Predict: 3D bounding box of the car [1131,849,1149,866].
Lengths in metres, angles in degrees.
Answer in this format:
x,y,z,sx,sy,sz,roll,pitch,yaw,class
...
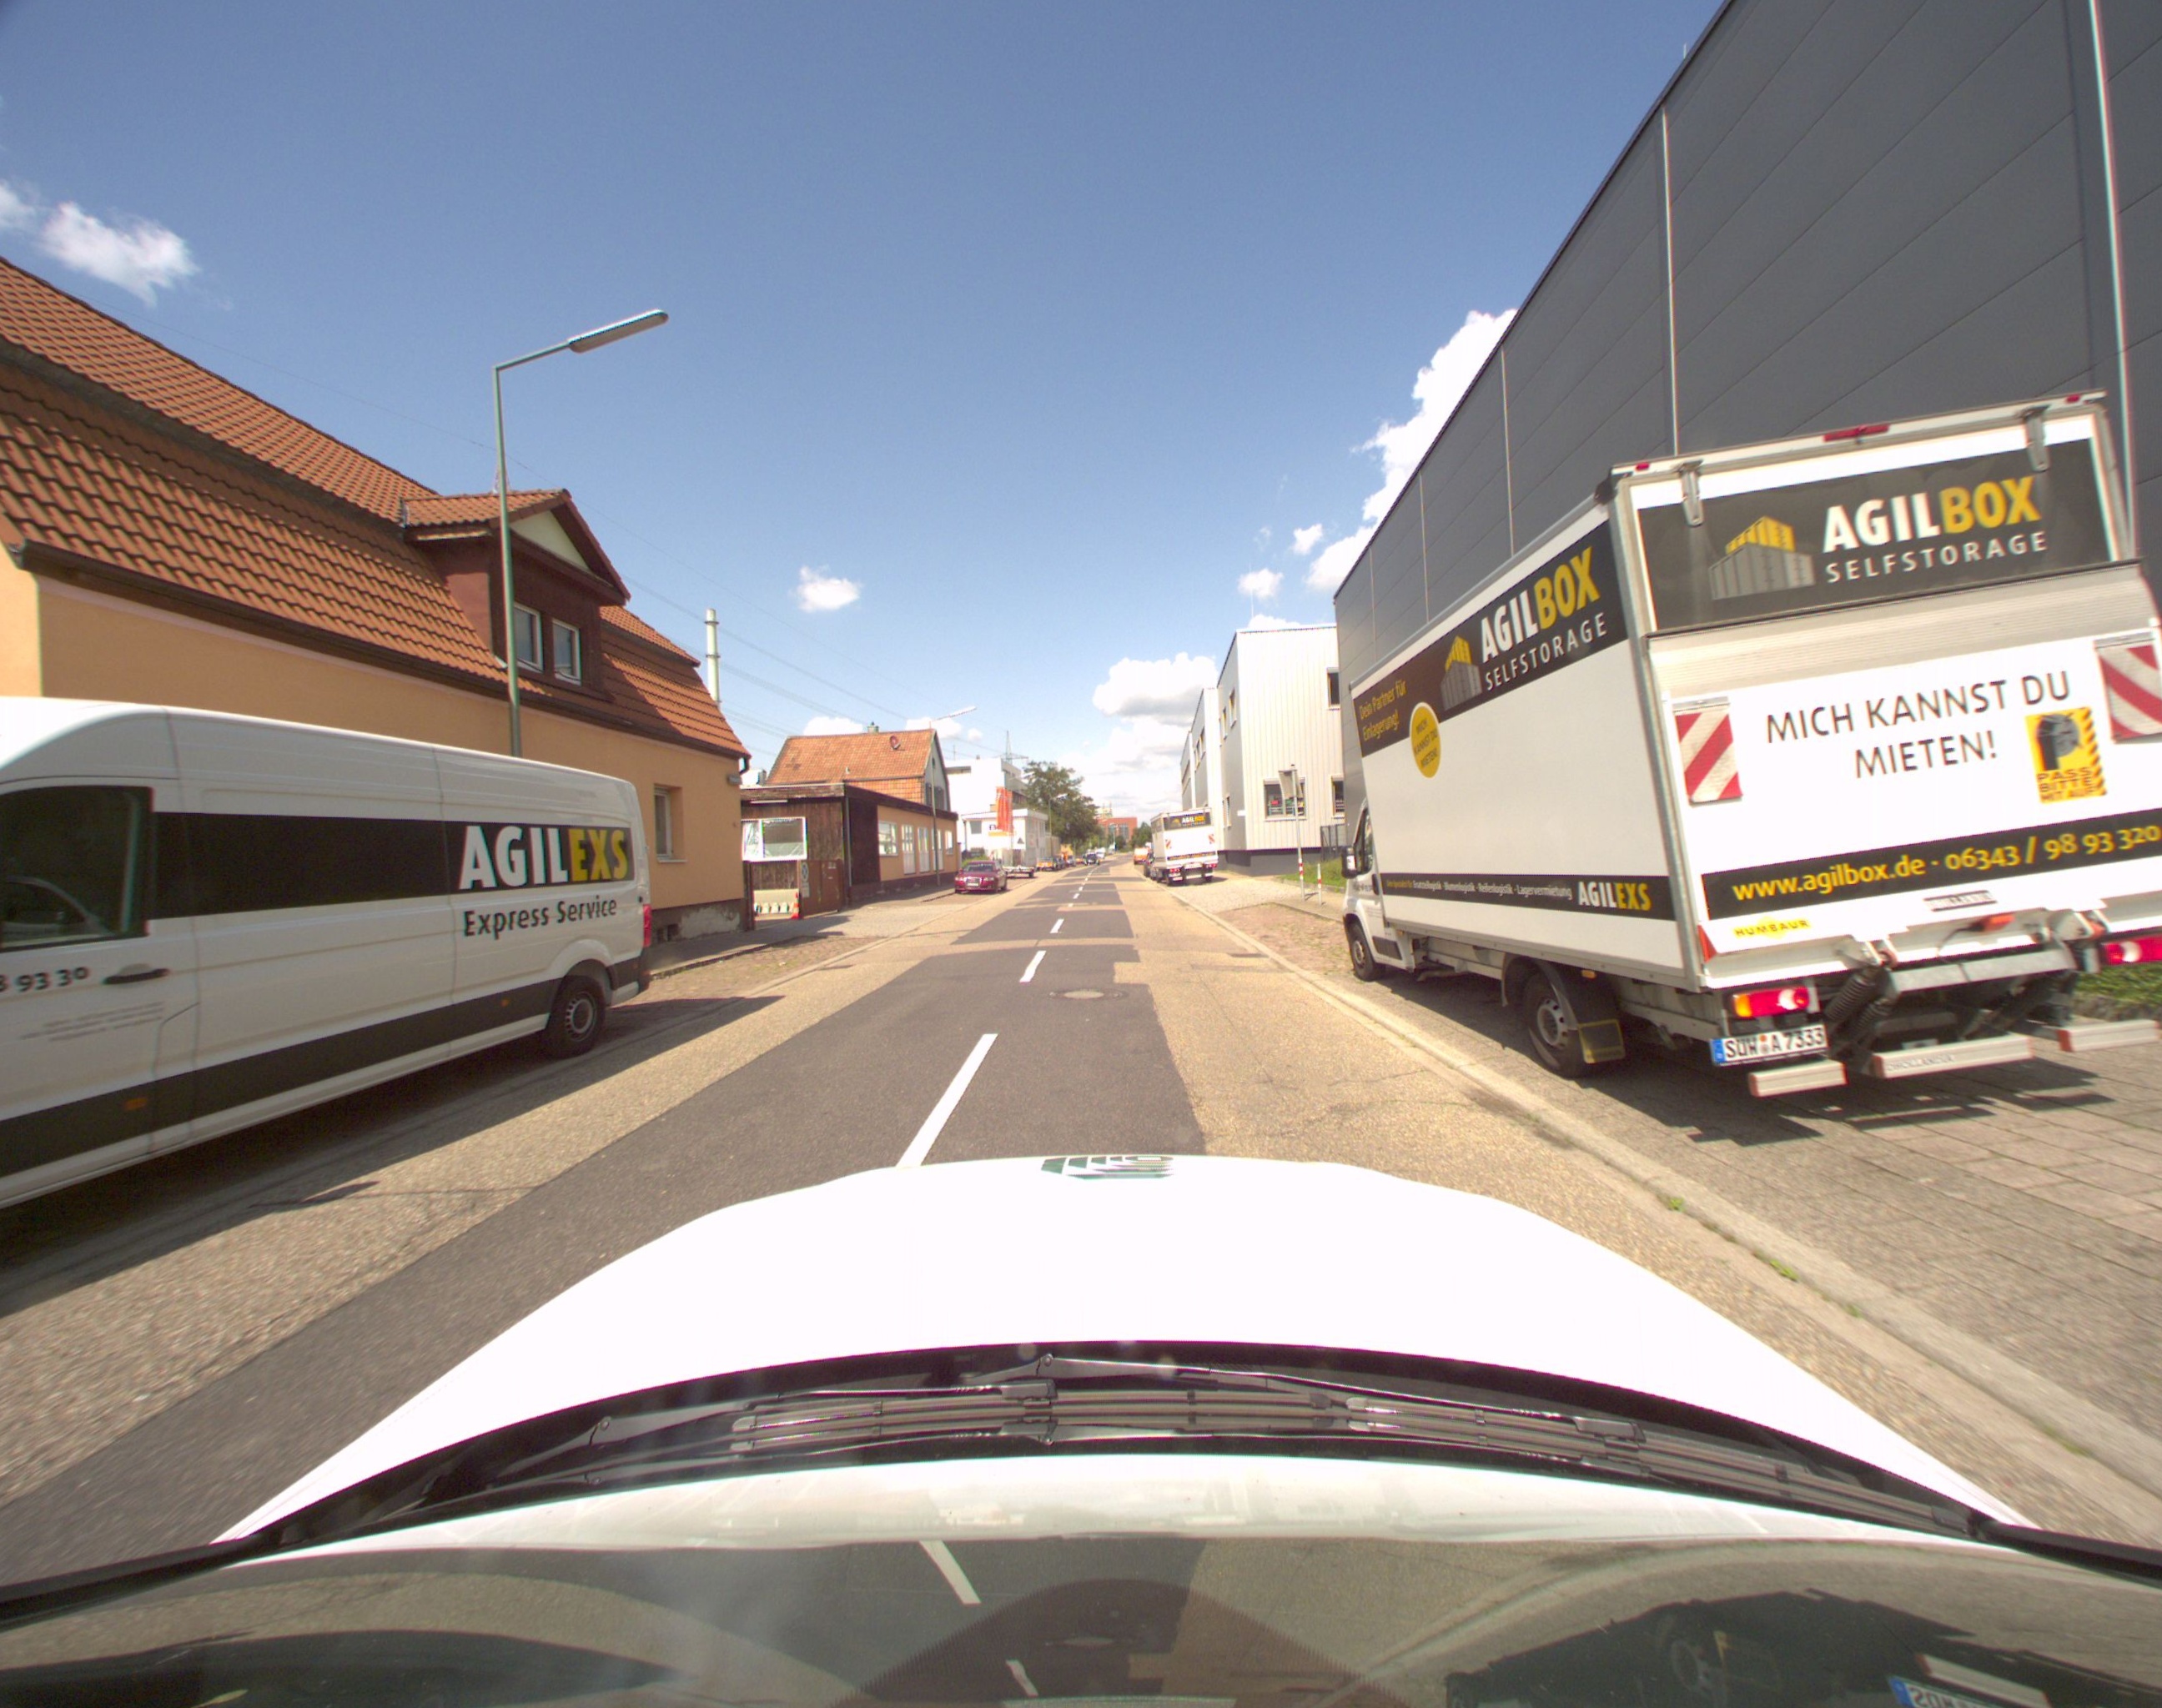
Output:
x,y,z,sx,sy,sz,roll,pitch,yaw,class
6.701,0.375,92.388,1.931,1.742,4.381,-3,-1,4,car

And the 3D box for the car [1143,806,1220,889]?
x,y,z,sx,sy,sz,roll,pitch,yaw,class
4.562,-0.245,38.208,2.382,3.362,6.641,-5,0,-1,car

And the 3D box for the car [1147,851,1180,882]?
x,y,z,sx,sy,sz,roll,pitch,yaw,class
4.544,0.654,45.299,1.561,1.574,4.071,-3,0,2,car

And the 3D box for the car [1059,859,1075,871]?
x,y,z,sx,sy,sz,roll,pitch,yaw,class
-1.656,1.277,97.835,1.662,1.447,3.455,0,-1,2,car

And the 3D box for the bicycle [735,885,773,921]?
x,y,z,sx,sy,sz,roll,pitch,yaw,class
-10.362,1.528,25.843,0.628,0.955,1.967,-1,2,-8,bicycle

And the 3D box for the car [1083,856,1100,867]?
x,y,z,sx,sy,sz,roll,pitch,yaw,class
1.247,0.883,97.358,1.911,1.285,3.615,-3,0,1,car

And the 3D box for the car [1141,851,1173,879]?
x,y,z,sx,sy,sz,roll,pitch,yaw,class
4.656,0.654,50.548,1.761,1.612,3.876,-2,-1,3,car

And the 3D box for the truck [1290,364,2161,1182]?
x,y,z,sx,sy,sz,roll,pitch,yaw,class
3.950,-0.349,6.941,2.449,3.293,6.821,-7,-1,2,truck

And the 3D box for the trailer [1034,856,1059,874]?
x,y,z,sx,sy,sz,roll,pitch,yaw,class
-3.260,1.005,76.881,1.986,1.556,4.255,-2,0,2,trailer

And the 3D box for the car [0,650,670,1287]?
x,y,z,sx,sy,sz,roll,pitch,yaw,class
-5.343,0.484,5.058,2.020,2.561,6.840,-1,-1,1,car

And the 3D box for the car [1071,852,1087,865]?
x,y,z,sx,sy,sz,roll,pitch,yaw,class
-0.254,0.591,115.600,1.913,1.794,4.004,-1,-1,4,car

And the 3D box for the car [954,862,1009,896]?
x,y,z,sx,sy,sz,roll,pitch,yaw,class
-4.443,1.074,36.943,1.755,1.447,4.743,0,0,2,car

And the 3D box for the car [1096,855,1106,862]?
x,y,z,sx,sy,sz,roll,pitch,yaw,class
4.195,0.951,169.386,1.801,1.564,4.006,-1,-1,5,car

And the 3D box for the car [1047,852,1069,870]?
x,y,z,sx,sy,sz,roll,pitch,yaw,class
-2.593,0.798,92.344,1.985,2.014,4.004,-1,-1,4,car

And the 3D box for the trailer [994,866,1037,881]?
x,y,z,sx,sy,sz,roll,pitch,yaw,class
-4.426,1.330,55.759,2.354,0.893,5.571,0,0,2,trailer
